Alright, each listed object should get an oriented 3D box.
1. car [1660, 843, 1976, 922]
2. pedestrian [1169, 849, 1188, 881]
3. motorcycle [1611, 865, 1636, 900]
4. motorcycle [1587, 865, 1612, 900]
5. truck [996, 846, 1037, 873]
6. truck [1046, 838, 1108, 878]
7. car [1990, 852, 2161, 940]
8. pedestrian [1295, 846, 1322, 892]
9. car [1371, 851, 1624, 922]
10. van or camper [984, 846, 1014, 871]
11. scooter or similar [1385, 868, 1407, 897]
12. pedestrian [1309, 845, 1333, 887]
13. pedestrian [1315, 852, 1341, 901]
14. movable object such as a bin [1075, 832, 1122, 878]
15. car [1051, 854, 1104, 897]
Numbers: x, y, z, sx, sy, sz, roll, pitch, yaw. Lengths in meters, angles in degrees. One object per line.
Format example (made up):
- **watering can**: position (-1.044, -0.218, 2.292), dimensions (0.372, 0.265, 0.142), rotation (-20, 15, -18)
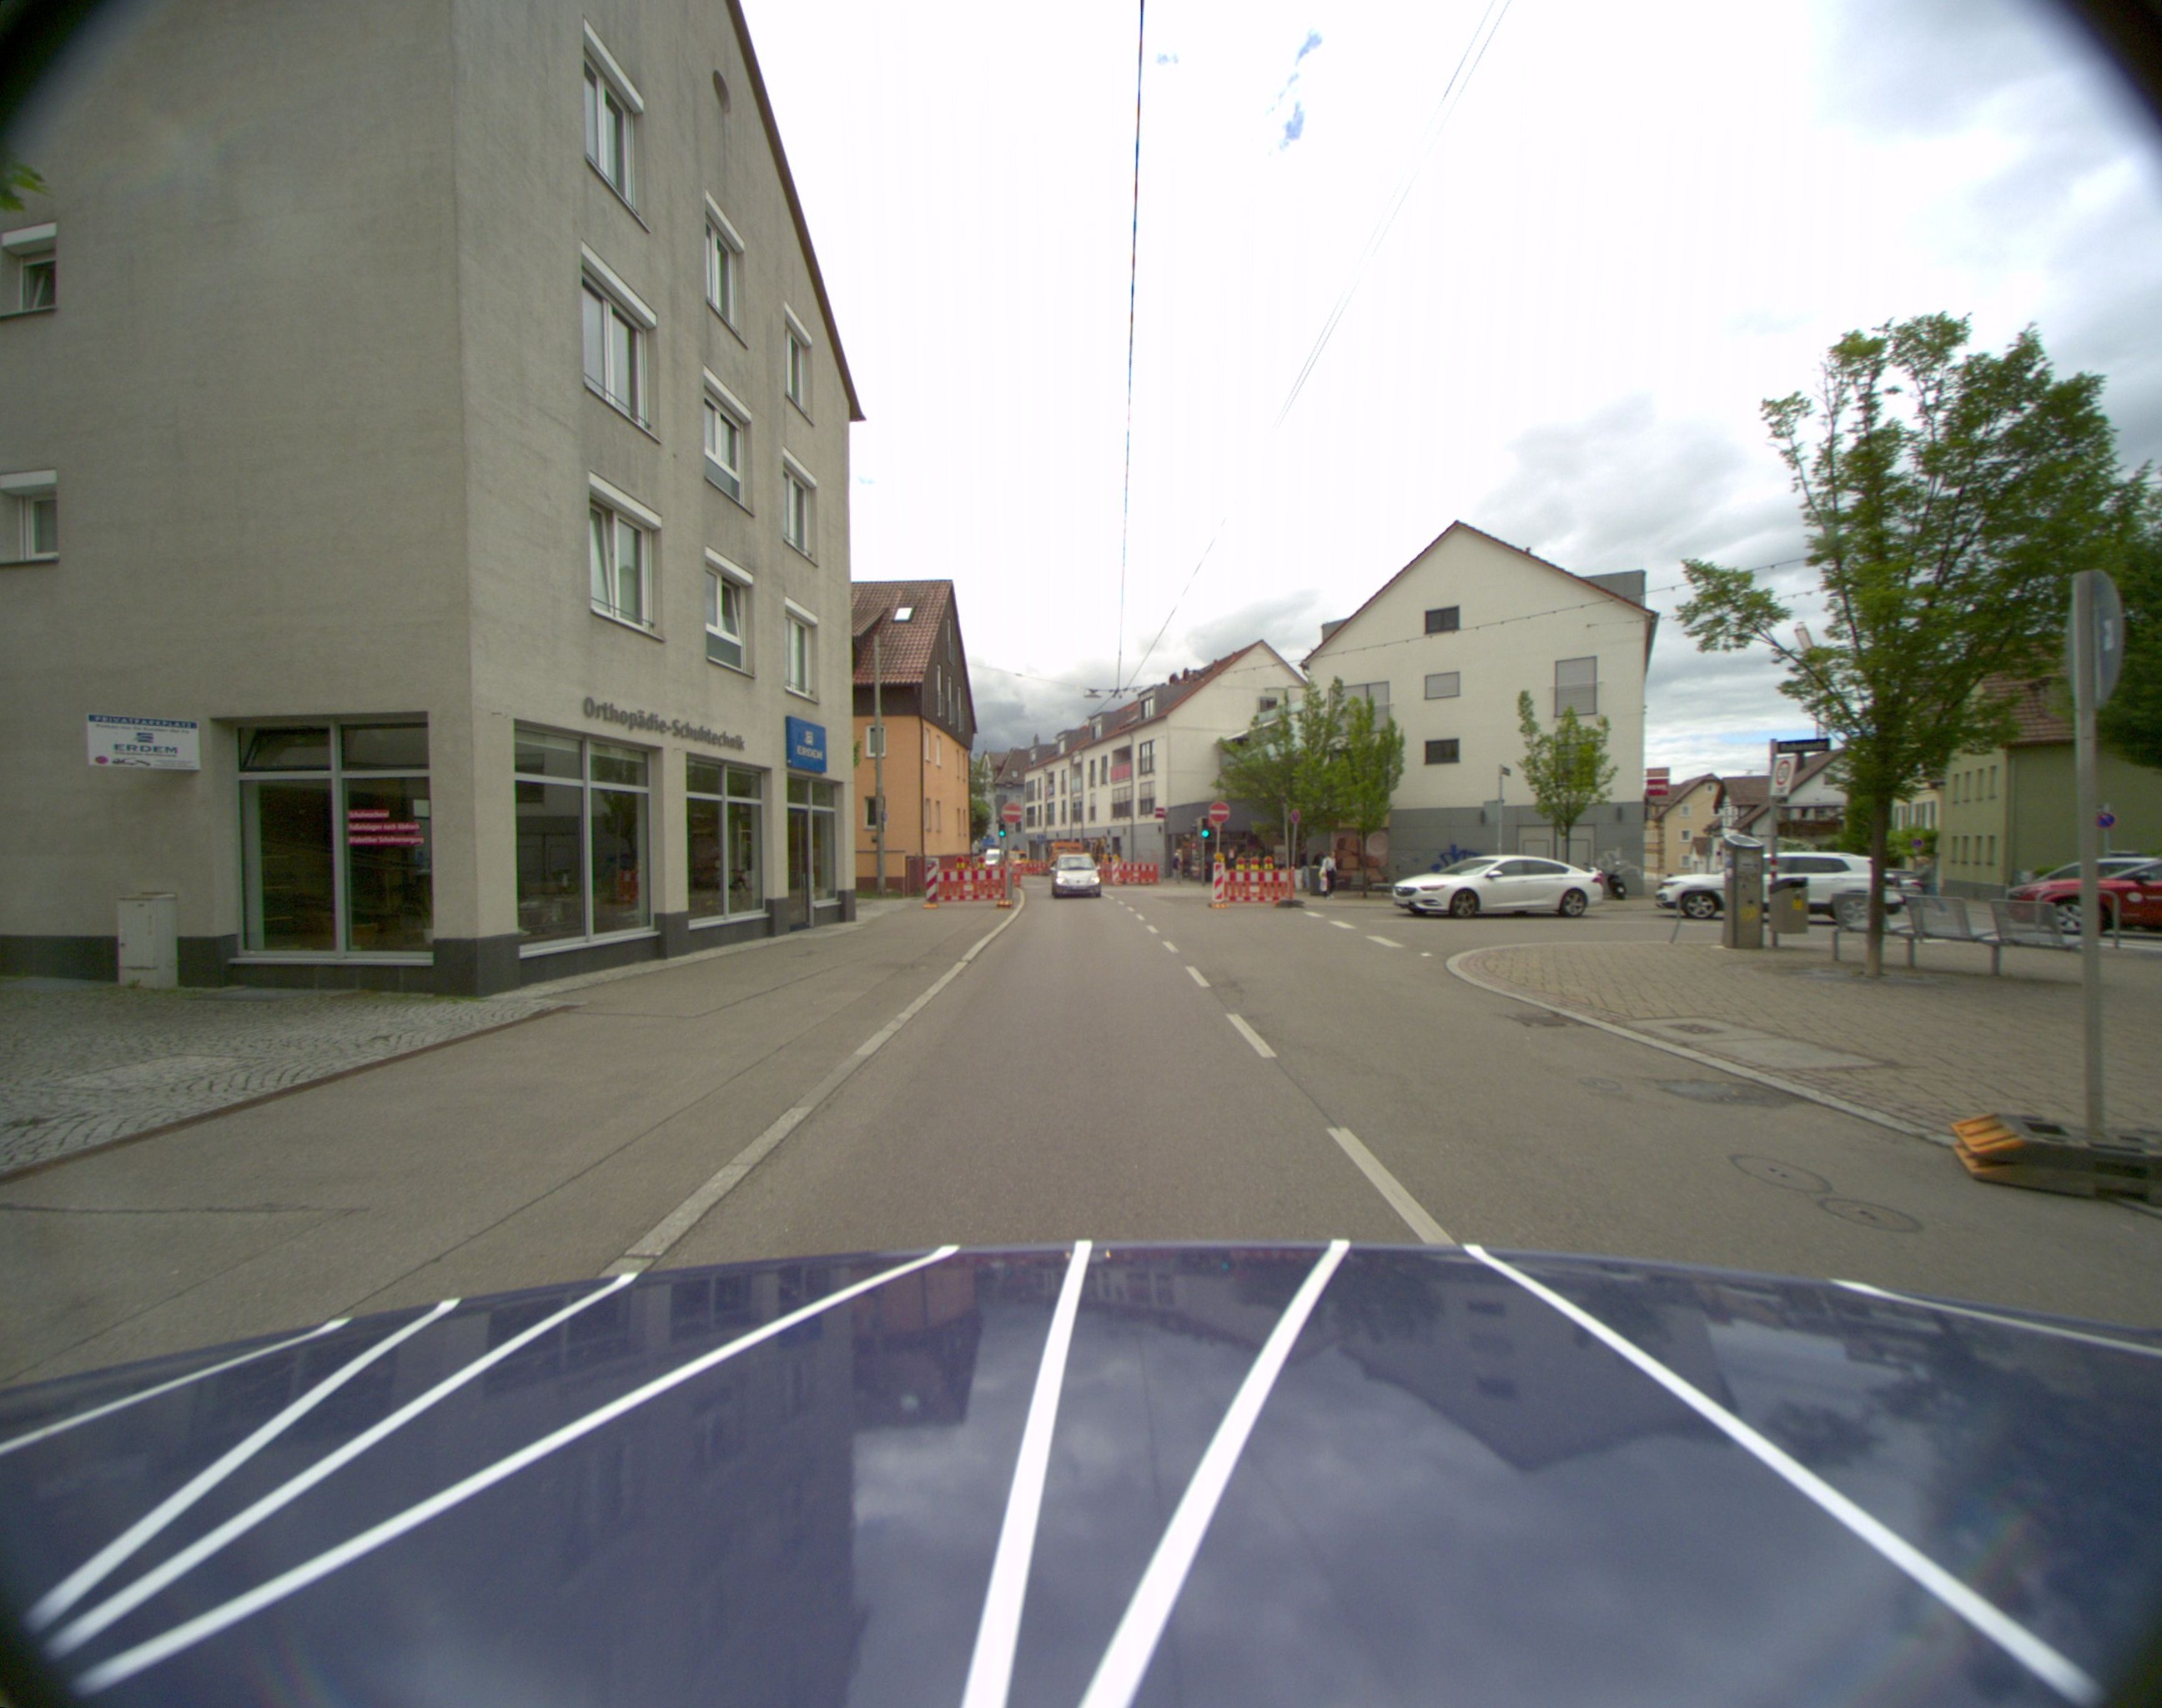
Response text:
- **car**: position (16.221, 0.597, 17.193), dimensions (4.905, 1.548, 2.026), rotation (-1, 0, 38)
- **pedestrian**: position (5.293, 0.587, 41.415), dimensions (0.835, 1.702, 0.815), rotation (0, 0, -9)
- **motorcycle**: position (19.150, 0.985, 26.794), dimensions (0.571, 1.141, 1.790), rotation (-4, -1, 38)
- **motorcycle**: position (18.574, 0.996, 27.201), dimensions (0.571, 1.141, 1.790), rotation (-4, -1, 38)
- **truck**: position (-6.286, 0.556, 73.341), dimensions (2.423, 2.451, 6.298), rotation (0, -1, -19)
- **truck**: position (-0.424, 0.295, 54.589), dimensions (2.742, 2.708, 6.839), rotation (0, -1, -15)
- **car**: position (20.459, 0.743, 13.860), dimensions (2.025, 1.548, 4.906), rotation (-1, 0, -38)
- **pedestrian**: position (9.665, 0.624, 32.305), dimensions (0.818, 1.914, 0.782), rotation (-1, 0, -37)
- **car**: position (9.823, 0.723, 18.168), dimensions (4.918, 1.468, 2.248), rotation (-1, 0, -8)
- **van or camper**: position (-8.887, 0.480, 81.721), dimensions (2.328, 2.591, 6.200), rotation (0, -1, -14)
- **scooter or similar**: position (12.846, 1.136, 30.956), dimensions (0.596, 1.116, 1.536), rotation (0, 0, 32)
- **pedestrian**: position (10.417, 0.527, 33.001), dimensions (0.695, 1.780, 0.716), rotation (-1, 0, -41)
- **pedestrian**: position (8.173, 0.736, 25.160), dimensions (0.682, 1.583, 0.880), rotation (0, 0, 10)
- **movable object such as a bin**: position (1.068, 0.031, 48.228), dimensions (1.846, 2.747, 4.499), rotation (0, 1, -14)
- **car**: position (-0.104, 0.804, 29.069), dimensions (1.858, 1.547, 4.353), rotation (0, -1, 0)
